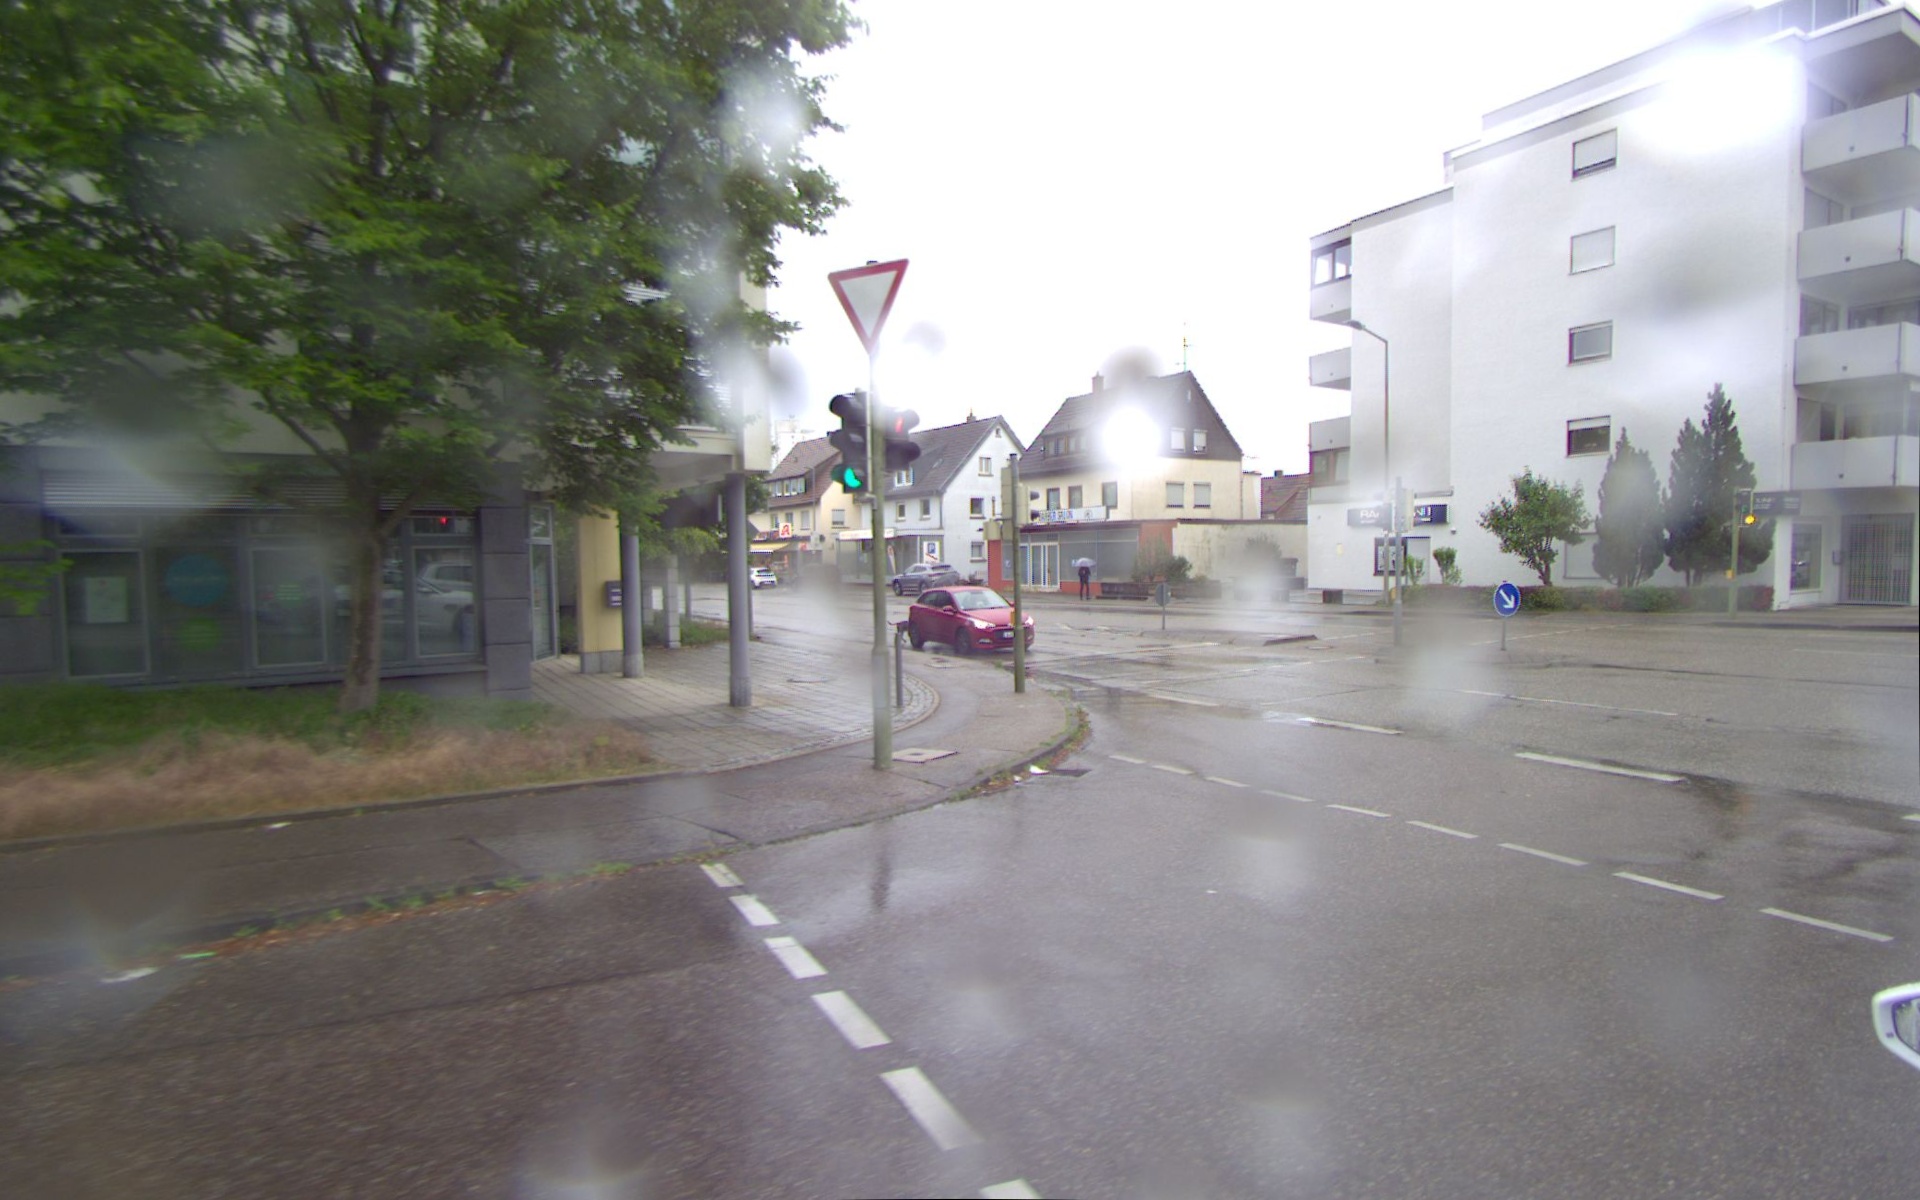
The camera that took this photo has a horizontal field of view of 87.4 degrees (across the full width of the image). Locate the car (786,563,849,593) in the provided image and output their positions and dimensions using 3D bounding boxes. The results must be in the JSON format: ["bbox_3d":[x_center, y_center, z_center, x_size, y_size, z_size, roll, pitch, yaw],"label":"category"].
[{"bbox_3d":[-9.213,-1.410,64.650,2.020,1.718,4.917,-5,4,-33],"label":"car"}]

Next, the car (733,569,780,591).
[{"bbox_3d":[-14.706,-1.462,72.422,1.802,1.468,4.162,-5,4,-35],"label":"car"}]

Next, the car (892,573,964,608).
[{"bbox_3d":[-1.781,-0.551,54.248,1.858,1.665,4.754,-5,4,-30],"label":"car"}]

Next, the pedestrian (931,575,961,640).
[{"bbox_3d":[-0.386,0.188,26.945,0.657,1.725,0.945,-1,2,-11],"label":"pedestrian"}]

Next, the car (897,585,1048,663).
[{"bbox_3d":[0.201,0.481,23.810,1.759,1.527,4.073,-5,4,-28],"label":"car"}]

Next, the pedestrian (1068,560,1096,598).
[{"bbox_3d":[5.234,-0.897,43.094,0.746,1.589,0.985,0,1,-30],"label":"pedestrian"}]
